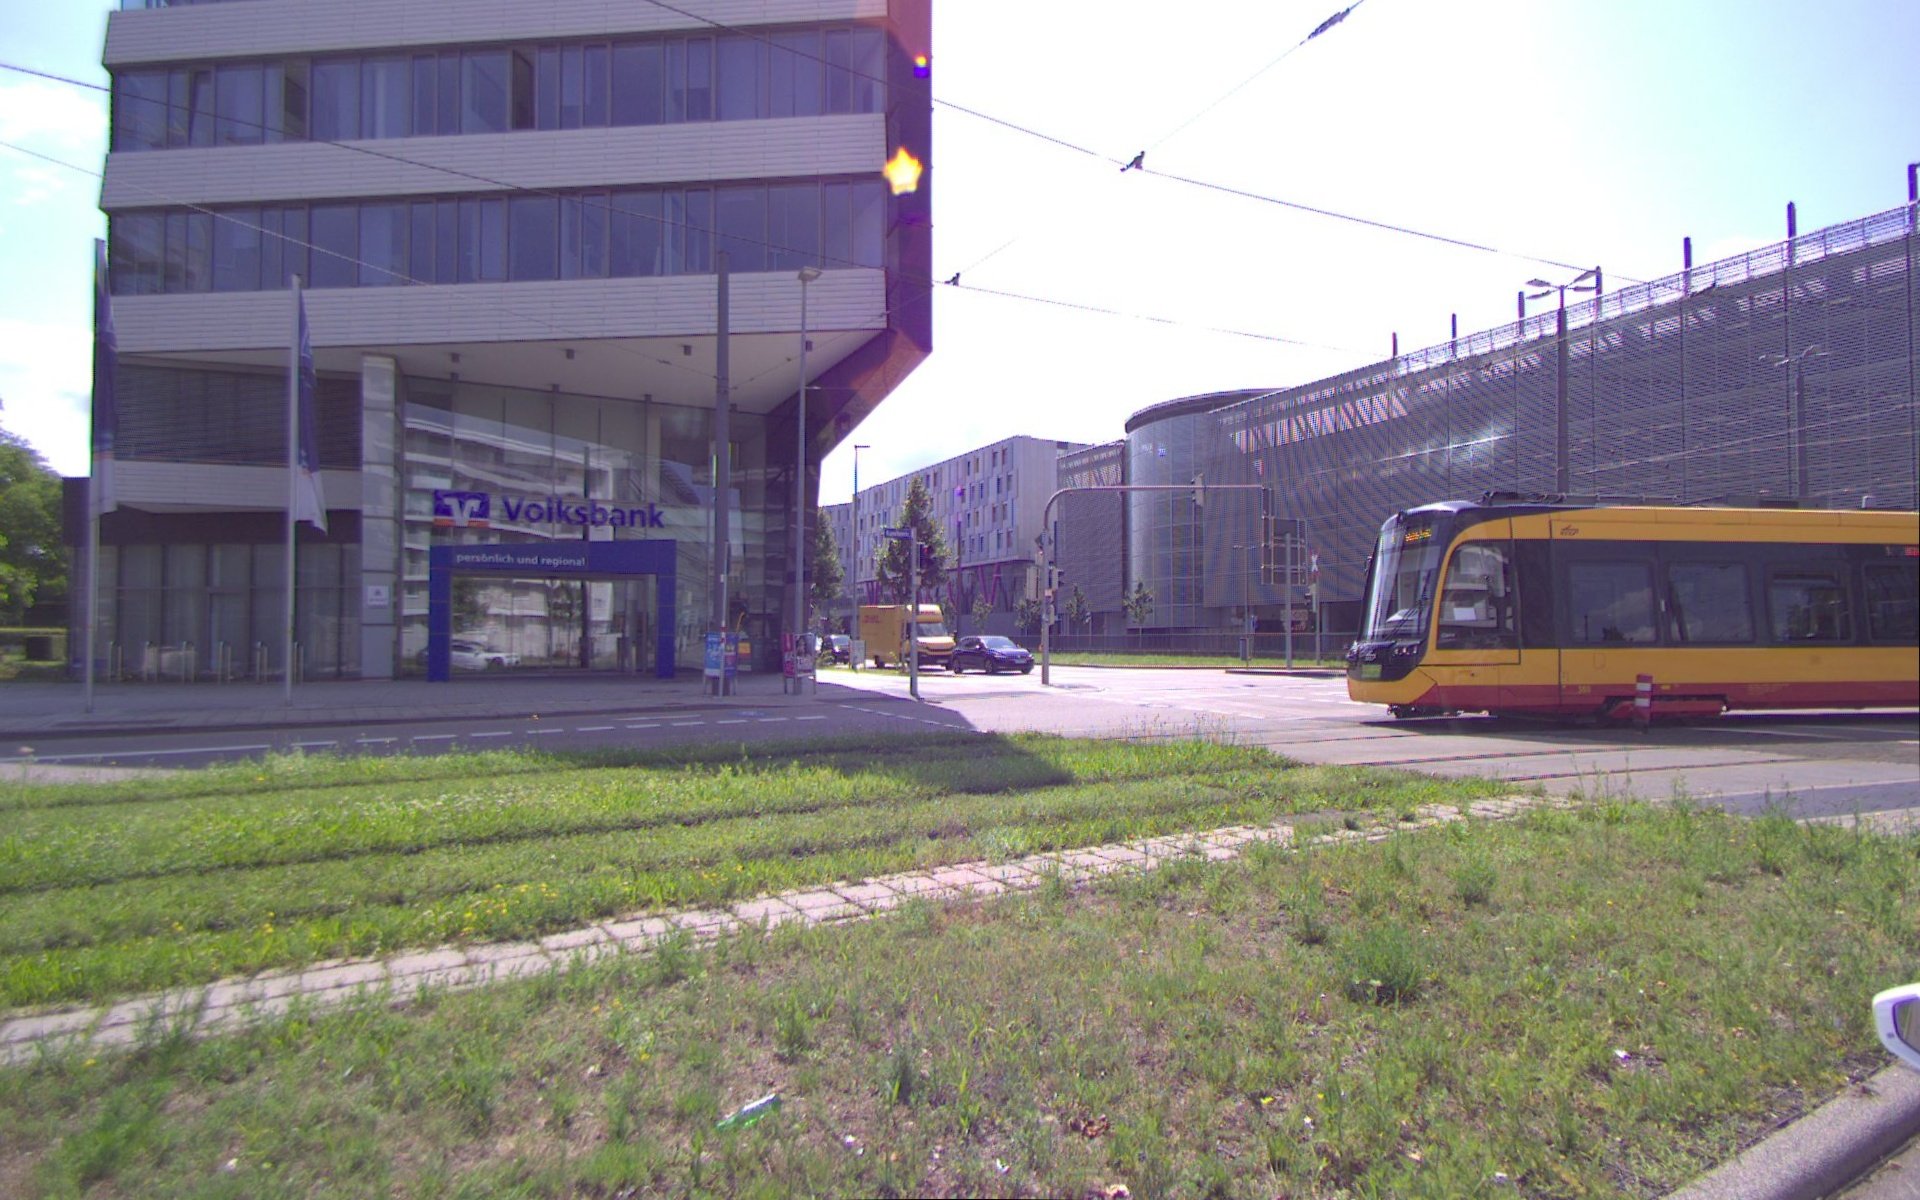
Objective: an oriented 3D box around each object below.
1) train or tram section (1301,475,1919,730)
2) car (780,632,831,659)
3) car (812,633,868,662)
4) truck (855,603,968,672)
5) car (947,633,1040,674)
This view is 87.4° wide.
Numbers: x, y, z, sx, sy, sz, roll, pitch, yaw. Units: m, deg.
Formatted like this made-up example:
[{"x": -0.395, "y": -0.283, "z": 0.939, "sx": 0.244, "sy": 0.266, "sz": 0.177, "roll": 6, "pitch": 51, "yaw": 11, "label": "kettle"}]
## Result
[{"x": 12.741, "y": 0.088, "z": 16.932, "sx": 13.251, "sy": 3.647, "sz": 3.222, "roll": 0, "pitch": -1, "yaw": -8, "label": "train or tram section"}, {"x": -8.904, "y": 2.602, "z": 57.617, "sx": 1.804, "sy": 1.488, "sz": 3.760, "roll": 1, "pitch": -2, "yaw": -27, "label": "car"}, {"x": -6.436, "y": 2.519, "z": 53.474, "sx": 1.804, "sy": 1.488, "sz": 3.760, "roll": 1, "pitch": -2, "yaw": -27, "label": "car"}, {"x": -2.323, "y": 1.670, "z": 45.300, "sx": 2.416, "sy": 2.866, "sz": 6.820, "roll": 1, "pitch": -2, "yaw": -28, "label": "truck"}, {"x": 1.223, "y": 2.006, "z": 38.351, "sx": 1.804, "sy": 1.488, "sz": 4.084, "roll": 1, "pitch": -2, "yaw": -27, "label": "car"}]
